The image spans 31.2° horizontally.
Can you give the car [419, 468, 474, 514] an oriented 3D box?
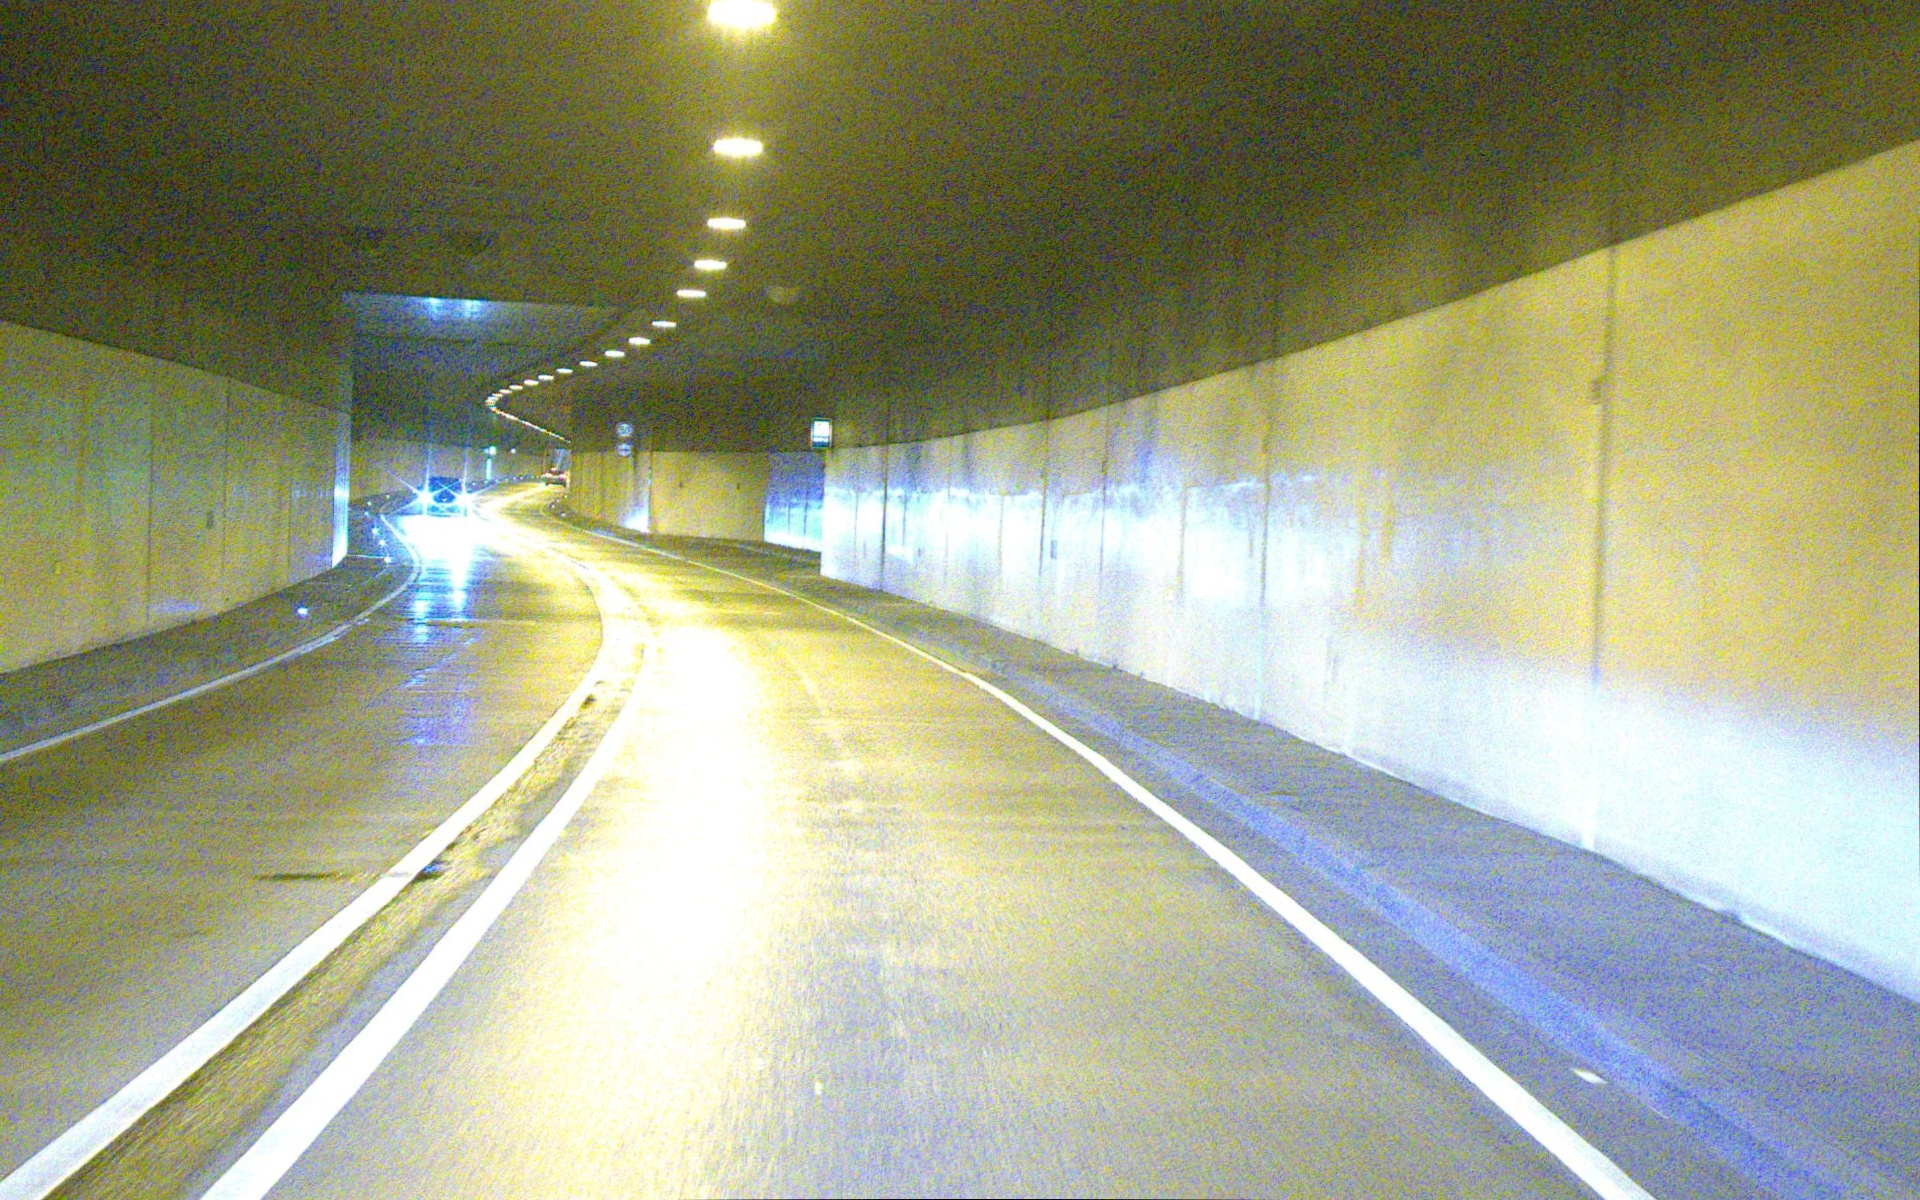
[{"bbox_3d":[-19.279,-4.097,129.242,1.993,1.590,4.001,0,0,-8],"label":"car"}]
